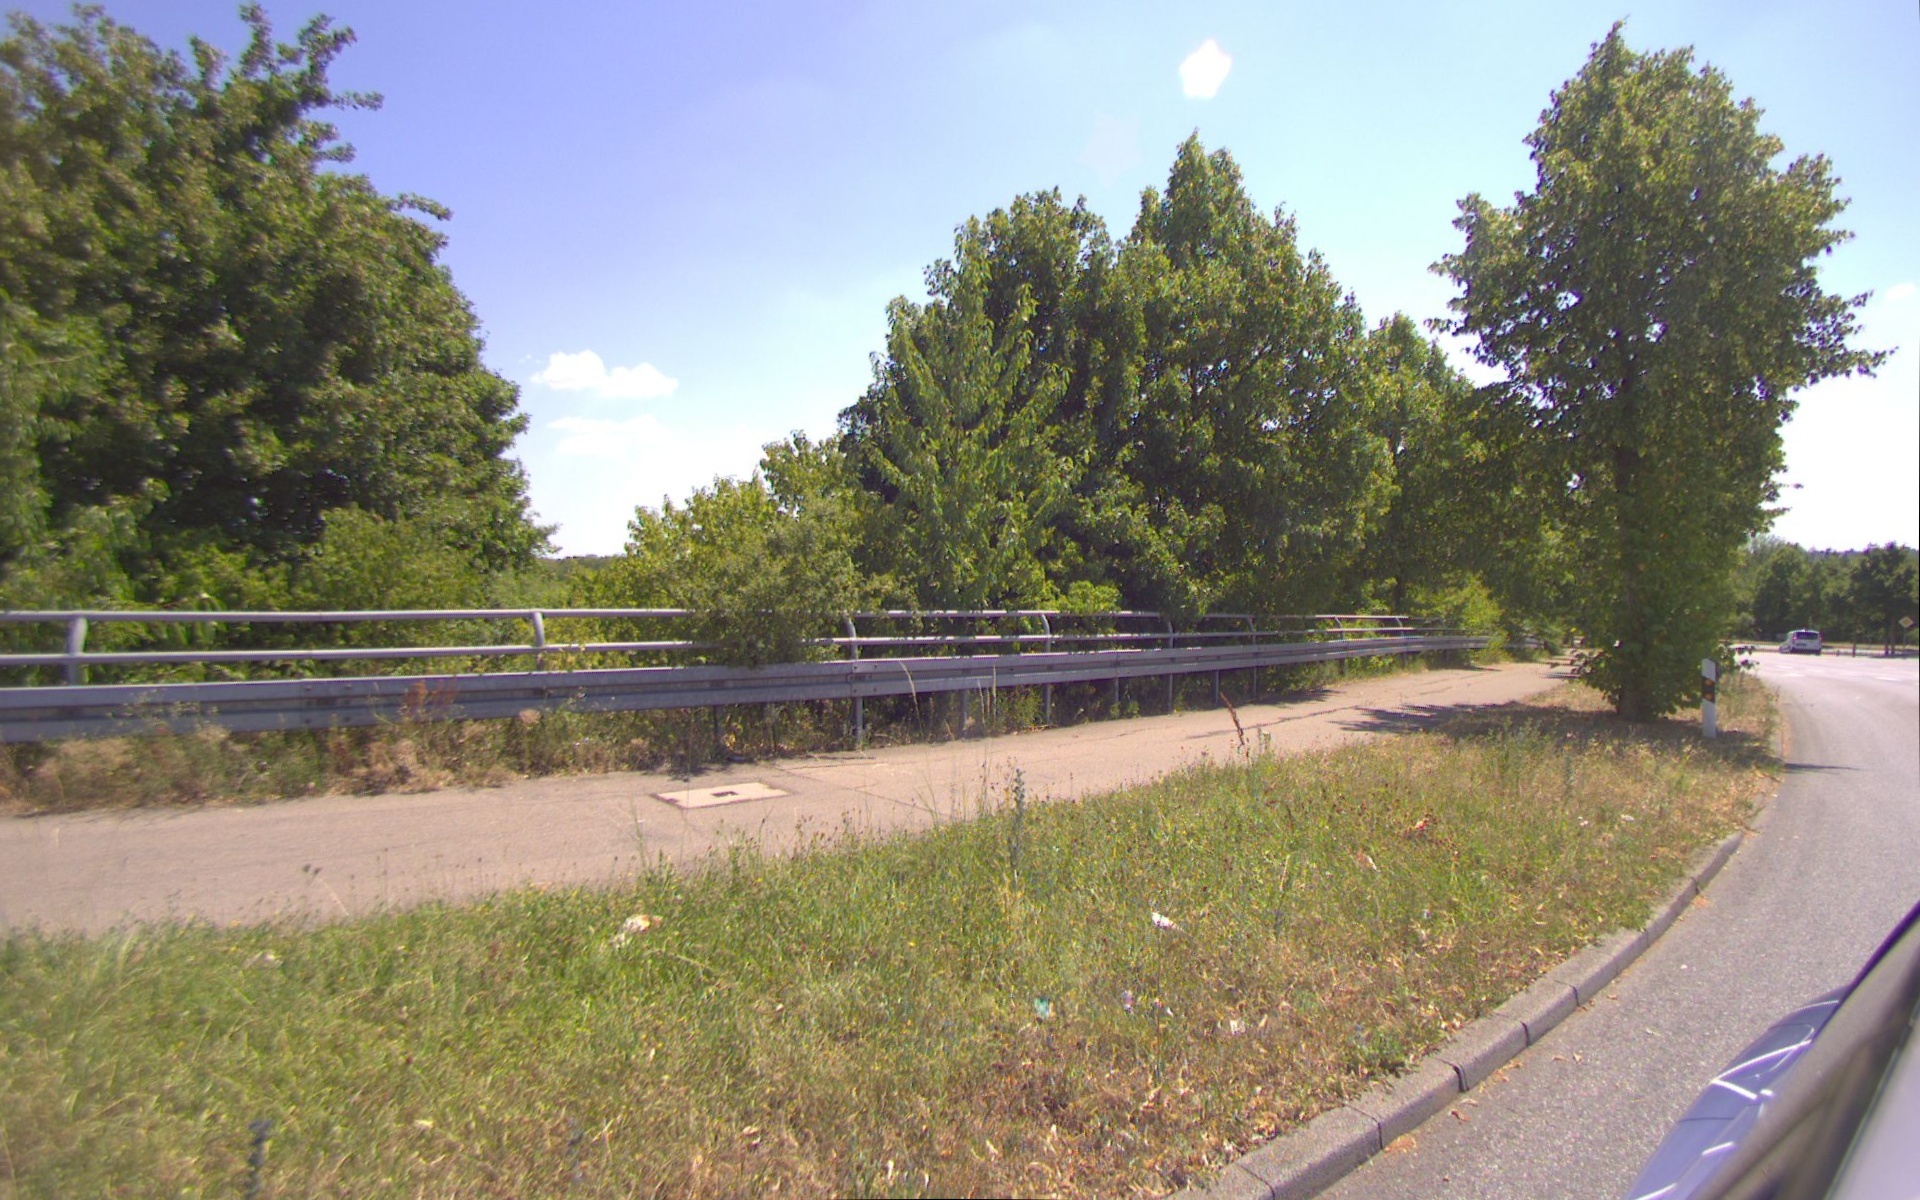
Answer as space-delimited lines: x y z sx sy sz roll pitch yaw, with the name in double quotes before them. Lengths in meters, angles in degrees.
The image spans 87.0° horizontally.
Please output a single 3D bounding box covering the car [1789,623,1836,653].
"car" 62.753 2.745 74.569 1.983 1.985 3.957 0 1 30
